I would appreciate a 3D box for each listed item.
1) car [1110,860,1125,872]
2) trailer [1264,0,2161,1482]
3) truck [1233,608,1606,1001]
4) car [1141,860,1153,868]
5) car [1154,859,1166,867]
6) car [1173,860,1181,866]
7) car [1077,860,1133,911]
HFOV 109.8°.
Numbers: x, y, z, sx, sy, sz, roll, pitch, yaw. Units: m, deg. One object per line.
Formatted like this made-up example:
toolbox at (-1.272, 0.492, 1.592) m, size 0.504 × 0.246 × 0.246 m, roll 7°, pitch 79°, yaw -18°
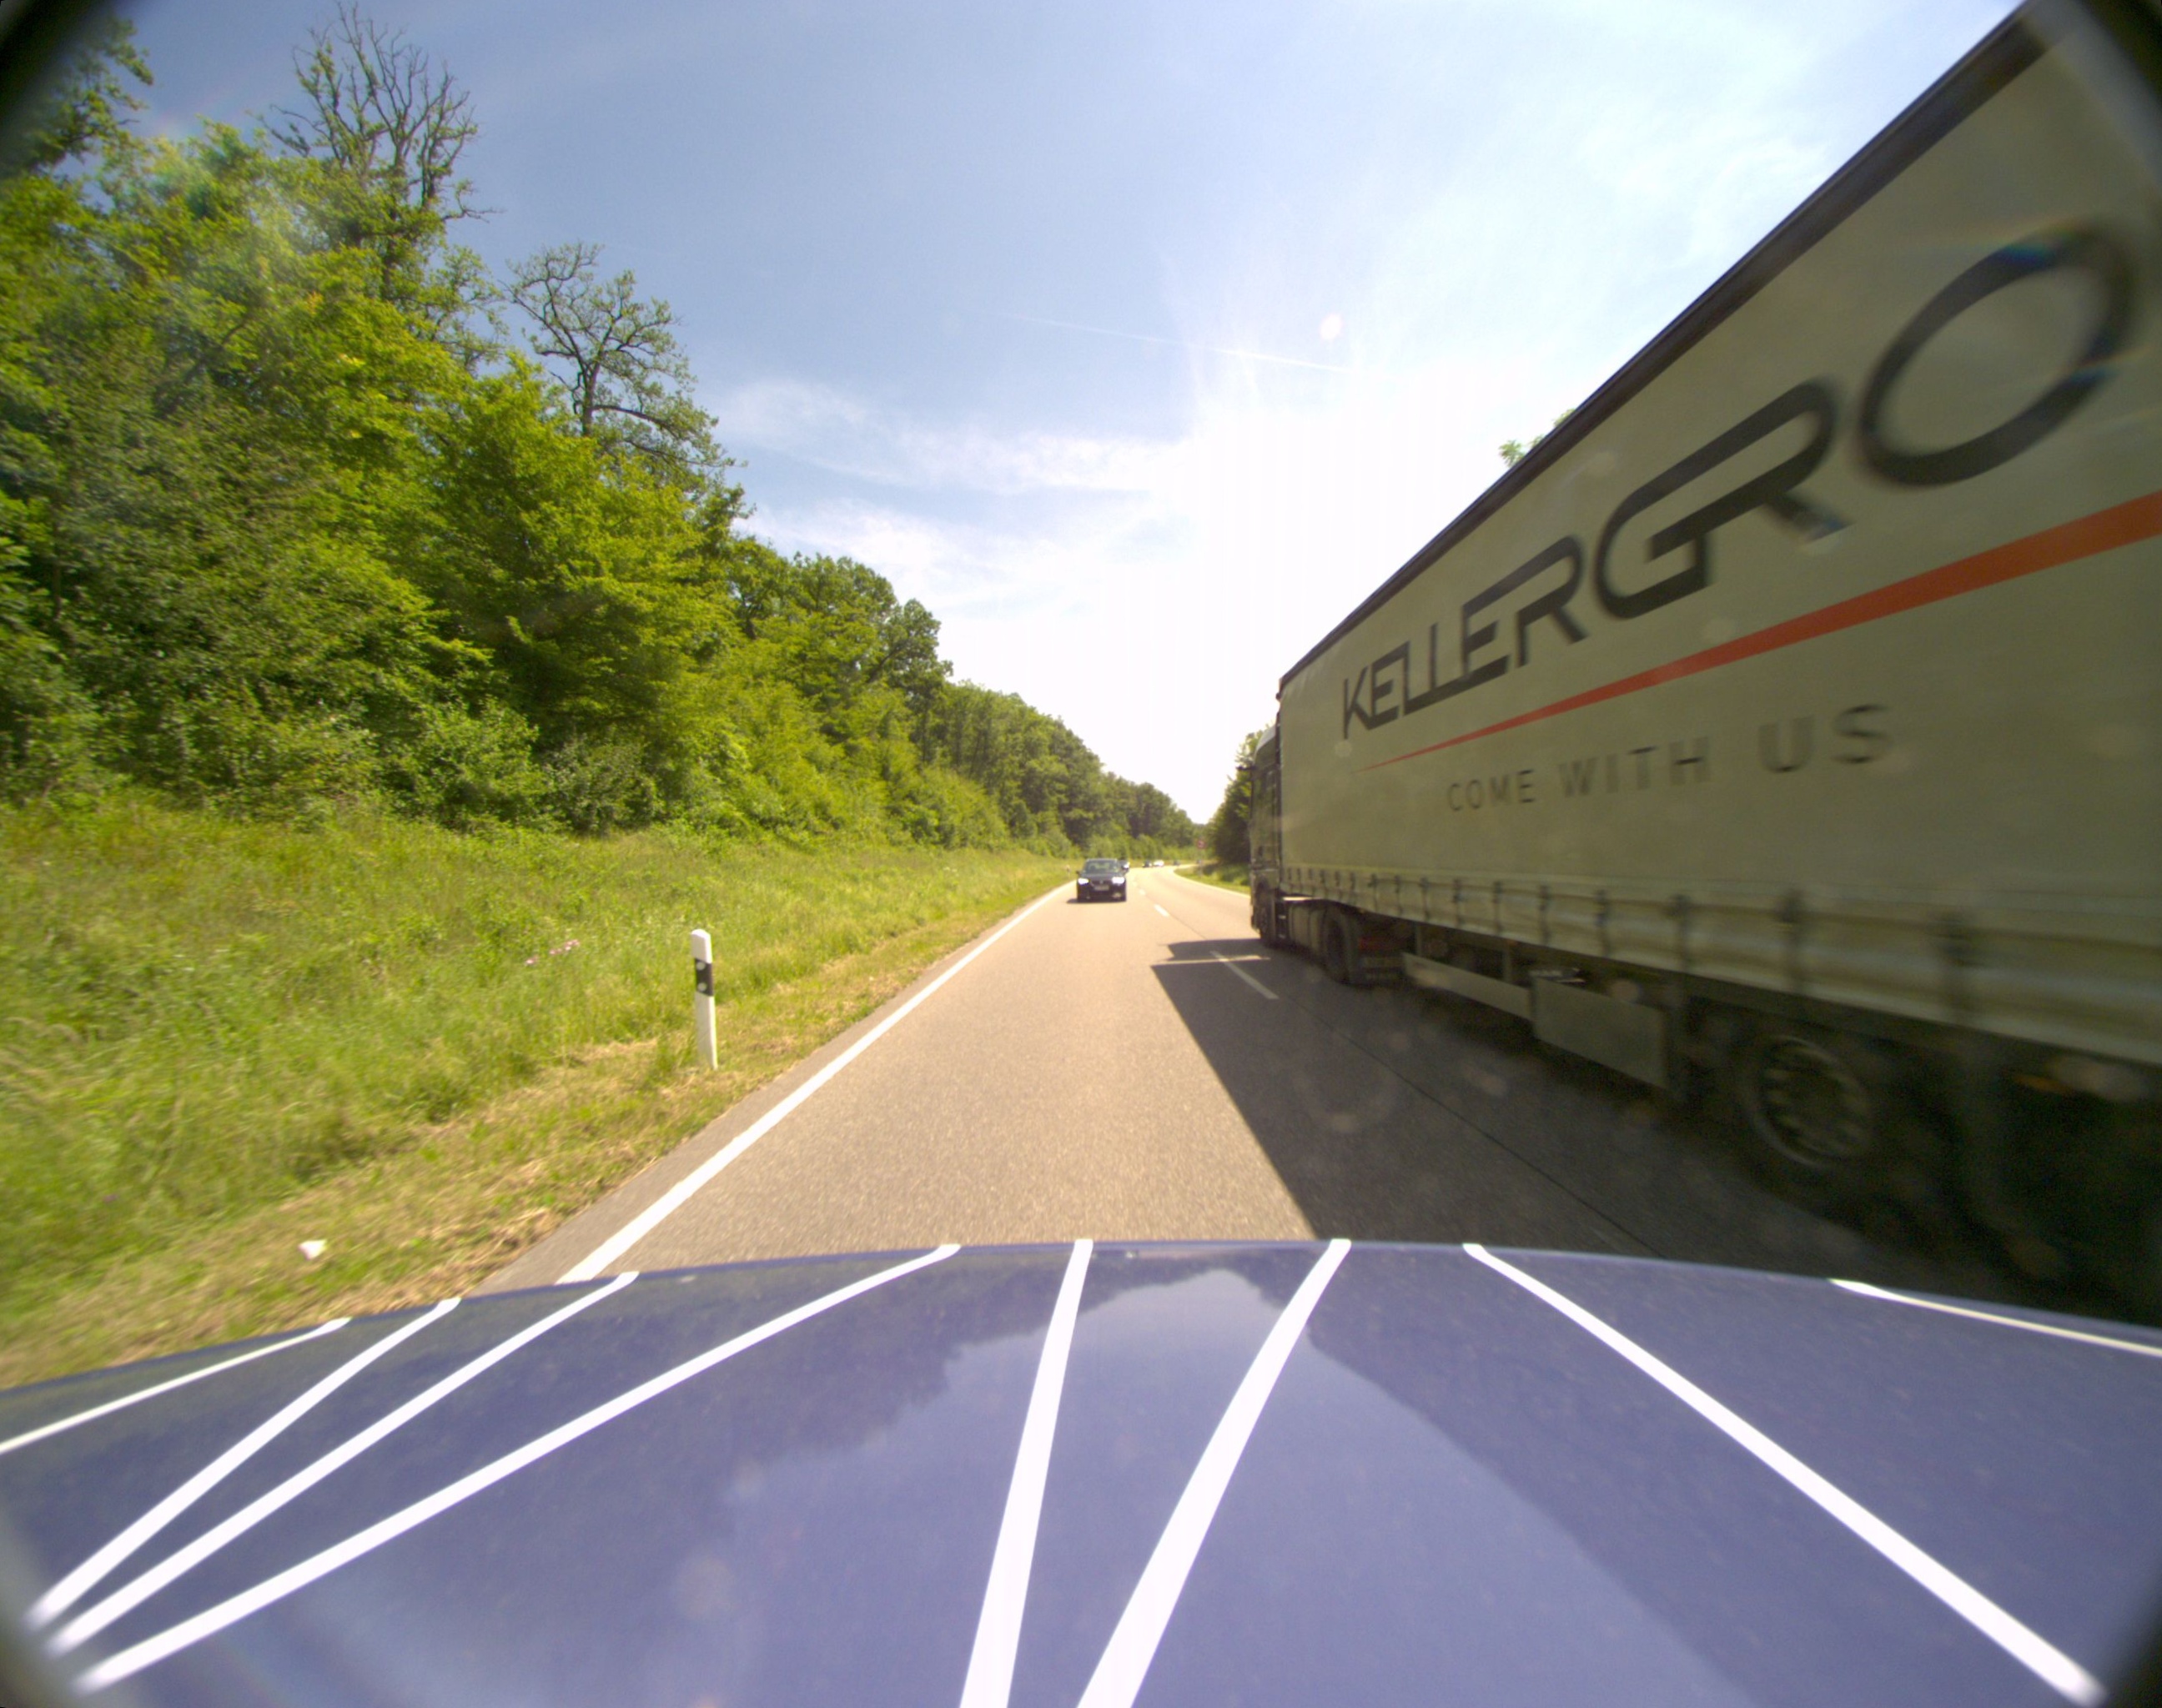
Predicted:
car at (4.627, 1.482, 95.312) m, size 1.775 × 1.454 × 3.950 m, roll -1°, pitch 0°, yaw 5°
trailer at (4.150, -0.566, 4.275) m, size 2.949 × 4.228 × 13.619 m, roll -1°, pitch 0°, yaw 0°
truck at (4.197, -0.526, 10.886) m, size 2.930 × 4.191 × 5.343 m, roll -1°, pitch 0°, yaw 0°
car at (12.588, 1.946, 145.369) m, size 1.774 × 1.454 × 4.004 m, roll -1°, pitch 0°, yaw 12°
car at (17.850, 1.967, 171.506) m, size 2.017 × 1.737 × 4.385 m, roll -1°, pitch 0°, yaw 13°
car at (26.204, 2.433, 206.715) m, size 1.690 × 1.718 × 4.004 m, roll -1°, pitch 0°, yaw 15°
car at (0.839, 0.999, 25.669) m, size 1.713 × 1.516 × 4.243 m, roll -1°, pitch 0°, yaw 3°
